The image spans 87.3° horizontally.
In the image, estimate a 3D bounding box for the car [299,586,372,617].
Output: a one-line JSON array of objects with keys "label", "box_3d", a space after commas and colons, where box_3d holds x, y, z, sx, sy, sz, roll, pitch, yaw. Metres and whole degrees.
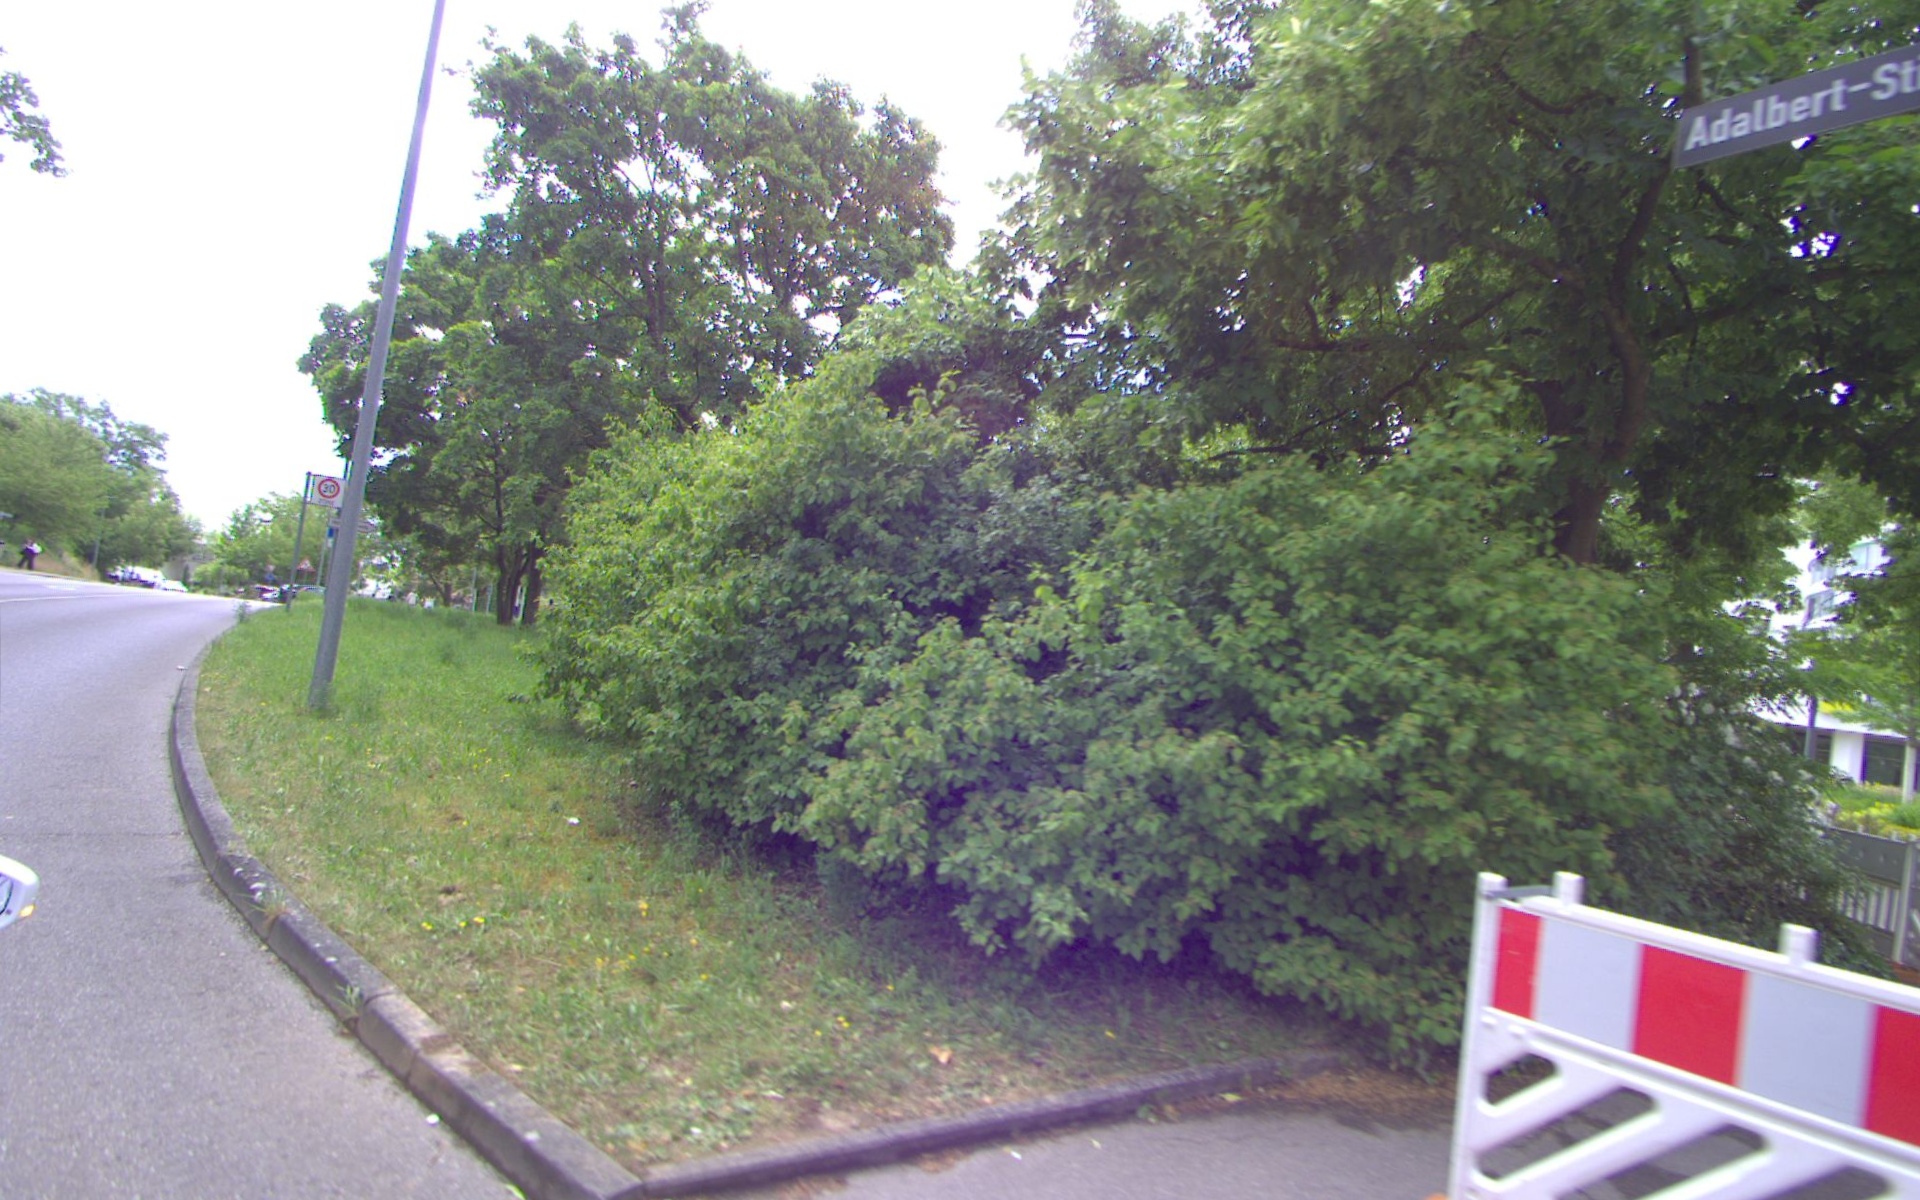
[{"label": "car", "box_3d": [-41.341, 0.142, 66.682, 3.896, 1.483, 1.760, 9, -7, -31]}]

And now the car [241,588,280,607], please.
[{"label": "car", "box_3d": [-83.183, -0.263, 119.637, 3.528, 1.671, 1.605, 11, -5, -39]}]

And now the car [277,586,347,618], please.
[{"label": "car", "box_3d": [-45.097, 0.144, 70.152, 3.896, 1.646, 1.760, 9, -7, -31]}]

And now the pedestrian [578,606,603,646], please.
[{"label": "pedestrian", "box_3d": [-17.058, 1.191, 46.418, 0.764, 1.742, 0.822, 8, -2, -12]}]

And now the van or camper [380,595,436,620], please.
[{"label": "van or camper", "box_3d": [-62.865, 0.880, 114.552, 5.266, 2.064, 2.041, 9, -3, -36]}]

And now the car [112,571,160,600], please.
[{"label": "car", "box_3d": [-51.245, -0.918, 62.622, 1.756, 1.517, 3.901, 9, -4, -34]}]

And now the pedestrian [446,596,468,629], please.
[{"label": "pedestrian", "box_3d": [-26.051, 0.640, 52.146, 0.766, 1.614, 0.819, 8, -2, -21]}]

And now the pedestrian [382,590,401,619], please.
[{"label": "pedestrian", "box_3d": [-35.502, 0.284, 62.857, 0.768, 1.742, 0.818, 9, -2, -28]}]

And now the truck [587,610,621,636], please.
[{"label": "truck", "box_3d": [-37.109, 2.376, 104.975, 2.297, 2.320, 5.887, 9, -3, -12]}]

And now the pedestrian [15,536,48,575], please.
[{"label": "pedestrian", "box_3d": [-46.241, -2.208, 50.095, 0.763, 1.742, 0.823, 7, -2, 28]}]

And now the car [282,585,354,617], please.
[{"label": "car", "box_3d": [-43.363, 0.096, 68.042, 3.896, 1.515, 1.760, 9, -7, -31]}]

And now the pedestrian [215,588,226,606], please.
[{"label": "pedestrian", "box_3d": [-80.582, -0.322, 109.651, 0.719, 1.886, 0.643, 8, -2, -42]}]

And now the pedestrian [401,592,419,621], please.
[{"label": "pedestrian", "box_3d": [-34.807, 0.421, 63.626, 0.795, 1.742, 0.817, 9, -2, -30]}]

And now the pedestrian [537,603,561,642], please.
[{"label": "pedestrian", "box_3d": [-19.586, 1.065, 47.973, 0.766, 1.742, 0.820, 8, -2, -18]}]

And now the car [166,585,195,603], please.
[{"label": "car", "box_3d": [-78.052, -0.603, 100.697, 1.968, 1.479, 3.893, 10, -5, -41]}]

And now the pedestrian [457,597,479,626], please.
[{"label": "pedestrian", "box_3d": [-31.491, 0.740, 64.427, 0.762, 1.713, 0.824, 8, -2, 4]}]

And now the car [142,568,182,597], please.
[{"label": "car", "box_3d": [-56.884, -1.215, 71.774, 1.756, 1.771, 3.902, 9, -4, -34]}]

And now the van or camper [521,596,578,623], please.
[{"label": "van or camper", "box_3d": [-39.891, 0.926, 97.795, 4.602, 1.936, 1.772, 8, -2, -2]}]
